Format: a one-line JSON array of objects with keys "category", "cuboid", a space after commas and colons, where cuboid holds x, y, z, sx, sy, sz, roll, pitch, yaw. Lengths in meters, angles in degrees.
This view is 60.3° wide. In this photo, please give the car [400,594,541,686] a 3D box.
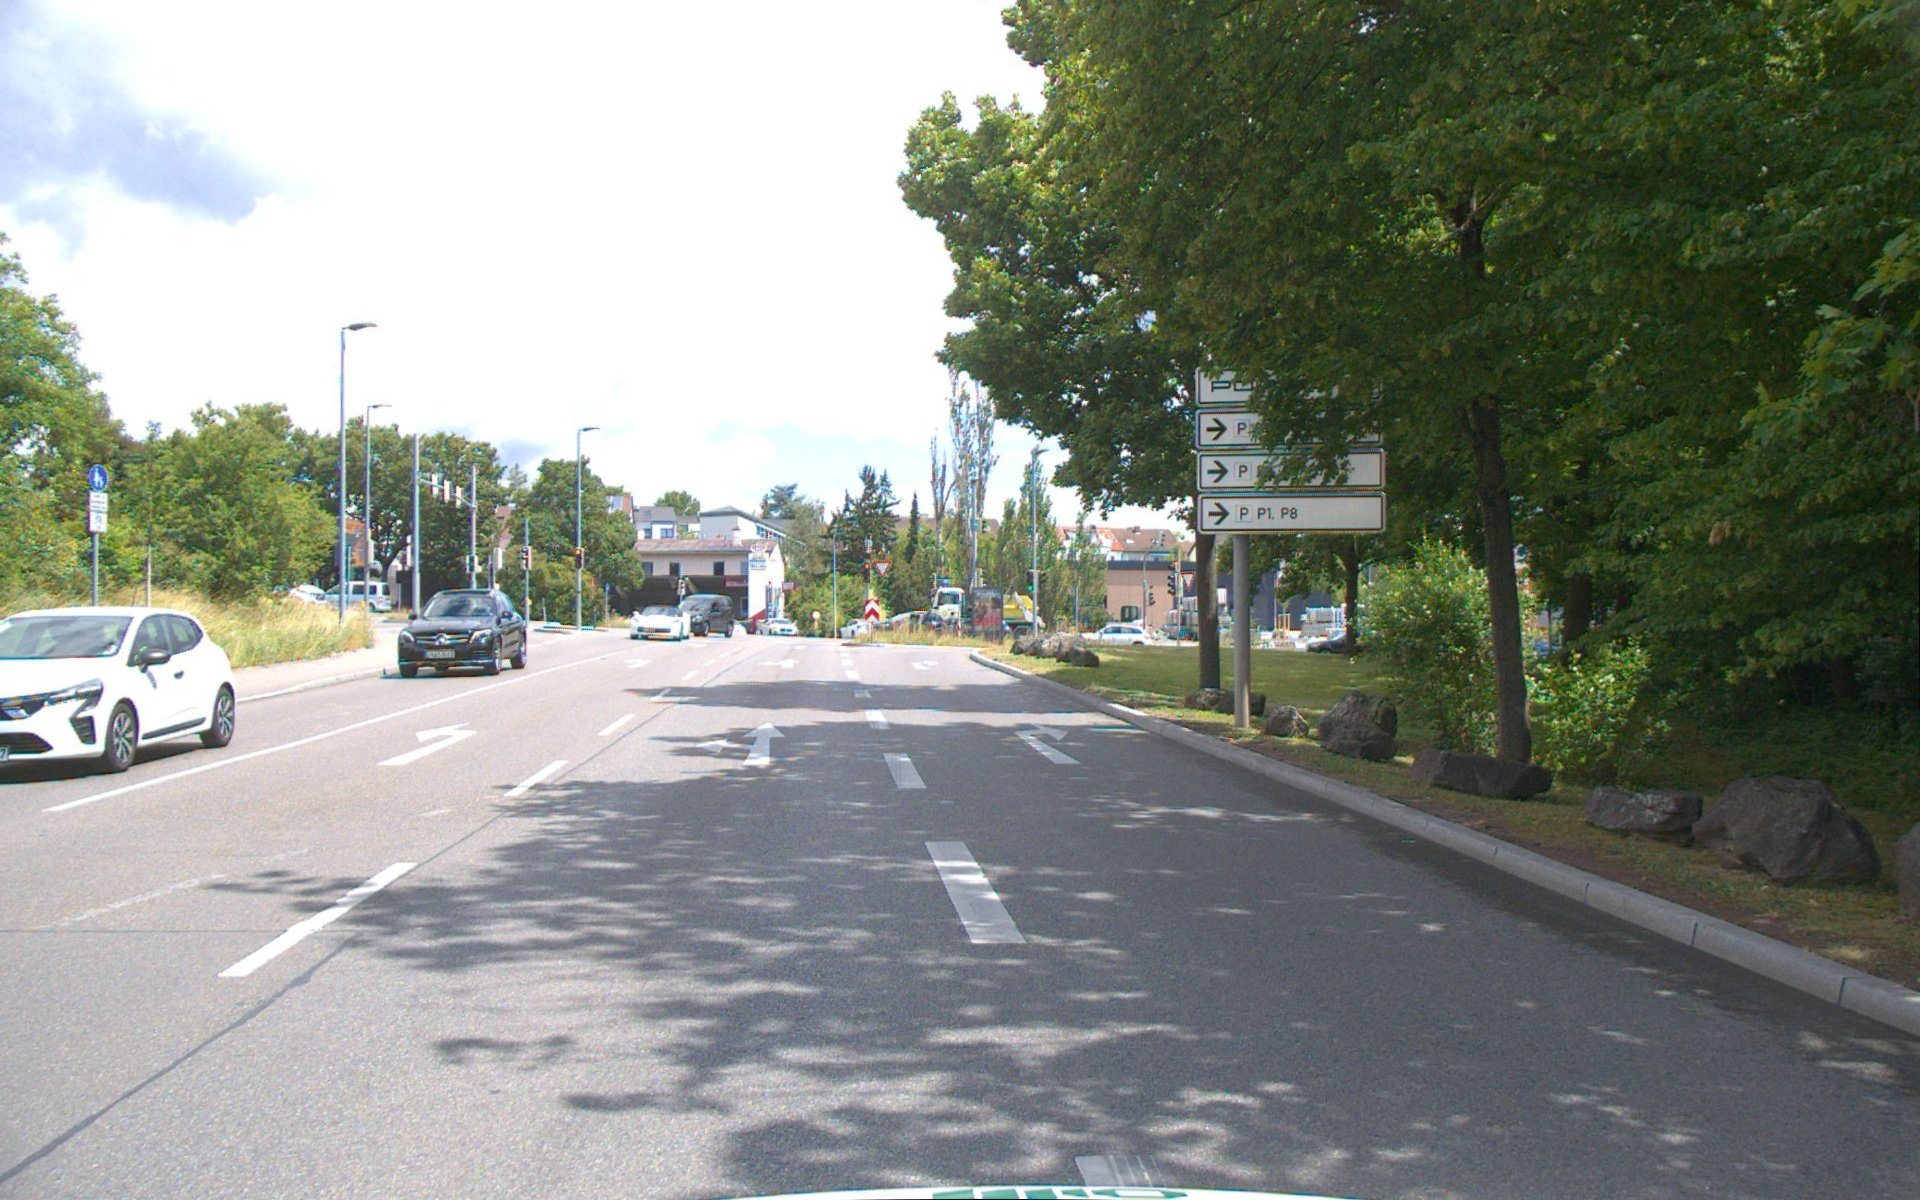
[{"category": "car", "cuboid": [-9.839, 0.769, 33.554, 1.785, 1.683, 4.528, -1, 0, -4]}]

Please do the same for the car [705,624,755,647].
[{"category": "car", "cuboid": [-15.339, 2.350, 110.128, 1.677, 1.425, 3.950, 3, -2, -35]}]

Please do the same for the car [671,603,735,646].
[{"category": "car", "cuboid": [-11.210, 1.112, 72.534, 1.747, 1.810, 4.813, 0, -2, 4]}]

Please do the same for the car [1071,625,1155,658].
[{"category": "car", "cuboid": [8.110, 2.201, 87.701, 4.274, 1.495, 1.622, 3, -1, 1]}]

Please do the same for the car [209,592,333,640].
[{"category": "car", "cuboid": [-32.071, 0.752, 77.055, 4.857, 1.971, 1.909, 3, -1, -4]}]

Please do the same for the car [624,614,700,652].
[{"category": "car", "cuboid": [-11.053, 1.209, 61.617, 1.865, 1.314, 4.610, -1, -1, 2]}]

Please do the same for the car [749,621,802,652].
[{"category": "car", "cuboid": [-12.315, 2.438, 110.491, 1.884, 1.892, 3.762, -1, -2, -36]}]

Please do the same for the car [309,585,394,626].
[{"category": "car", "cuboid": [-33.352, 0.335, 90.764, 3.907, 2.049, 1.999, -2, -1, -3]}]

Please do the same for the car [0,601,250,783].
[{"category": "car", "cuboid": [-8.161, 0.783, 15.395, 1.732, 1.467, 3.895, -2, 0, -6]}]

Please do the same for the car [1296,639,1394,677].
[{"category": "car", "cuboid": [20.219, 3.037, 87.036, 4.860, 1.719, 1.912, 3, -1, 11]}]

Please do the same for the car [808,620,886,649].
[{"category": "car", "cuboid": [-7.239, 2.201, 105.812, 4.697, 1.810, 1.790, -1, -3, 22]}]

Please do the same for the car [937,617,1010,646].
[{"category": "car", "cuboid": [0.725, 1.747, 90.641, 3.906, 1.425, 1.696, 2, -2, -1]}]

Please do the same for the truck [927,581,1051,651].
[{"category": "truck", "cuboid": [1.608, 0.927, 94.264, 6.804, 3.642, 2.846, -2, -2, -1]}]
